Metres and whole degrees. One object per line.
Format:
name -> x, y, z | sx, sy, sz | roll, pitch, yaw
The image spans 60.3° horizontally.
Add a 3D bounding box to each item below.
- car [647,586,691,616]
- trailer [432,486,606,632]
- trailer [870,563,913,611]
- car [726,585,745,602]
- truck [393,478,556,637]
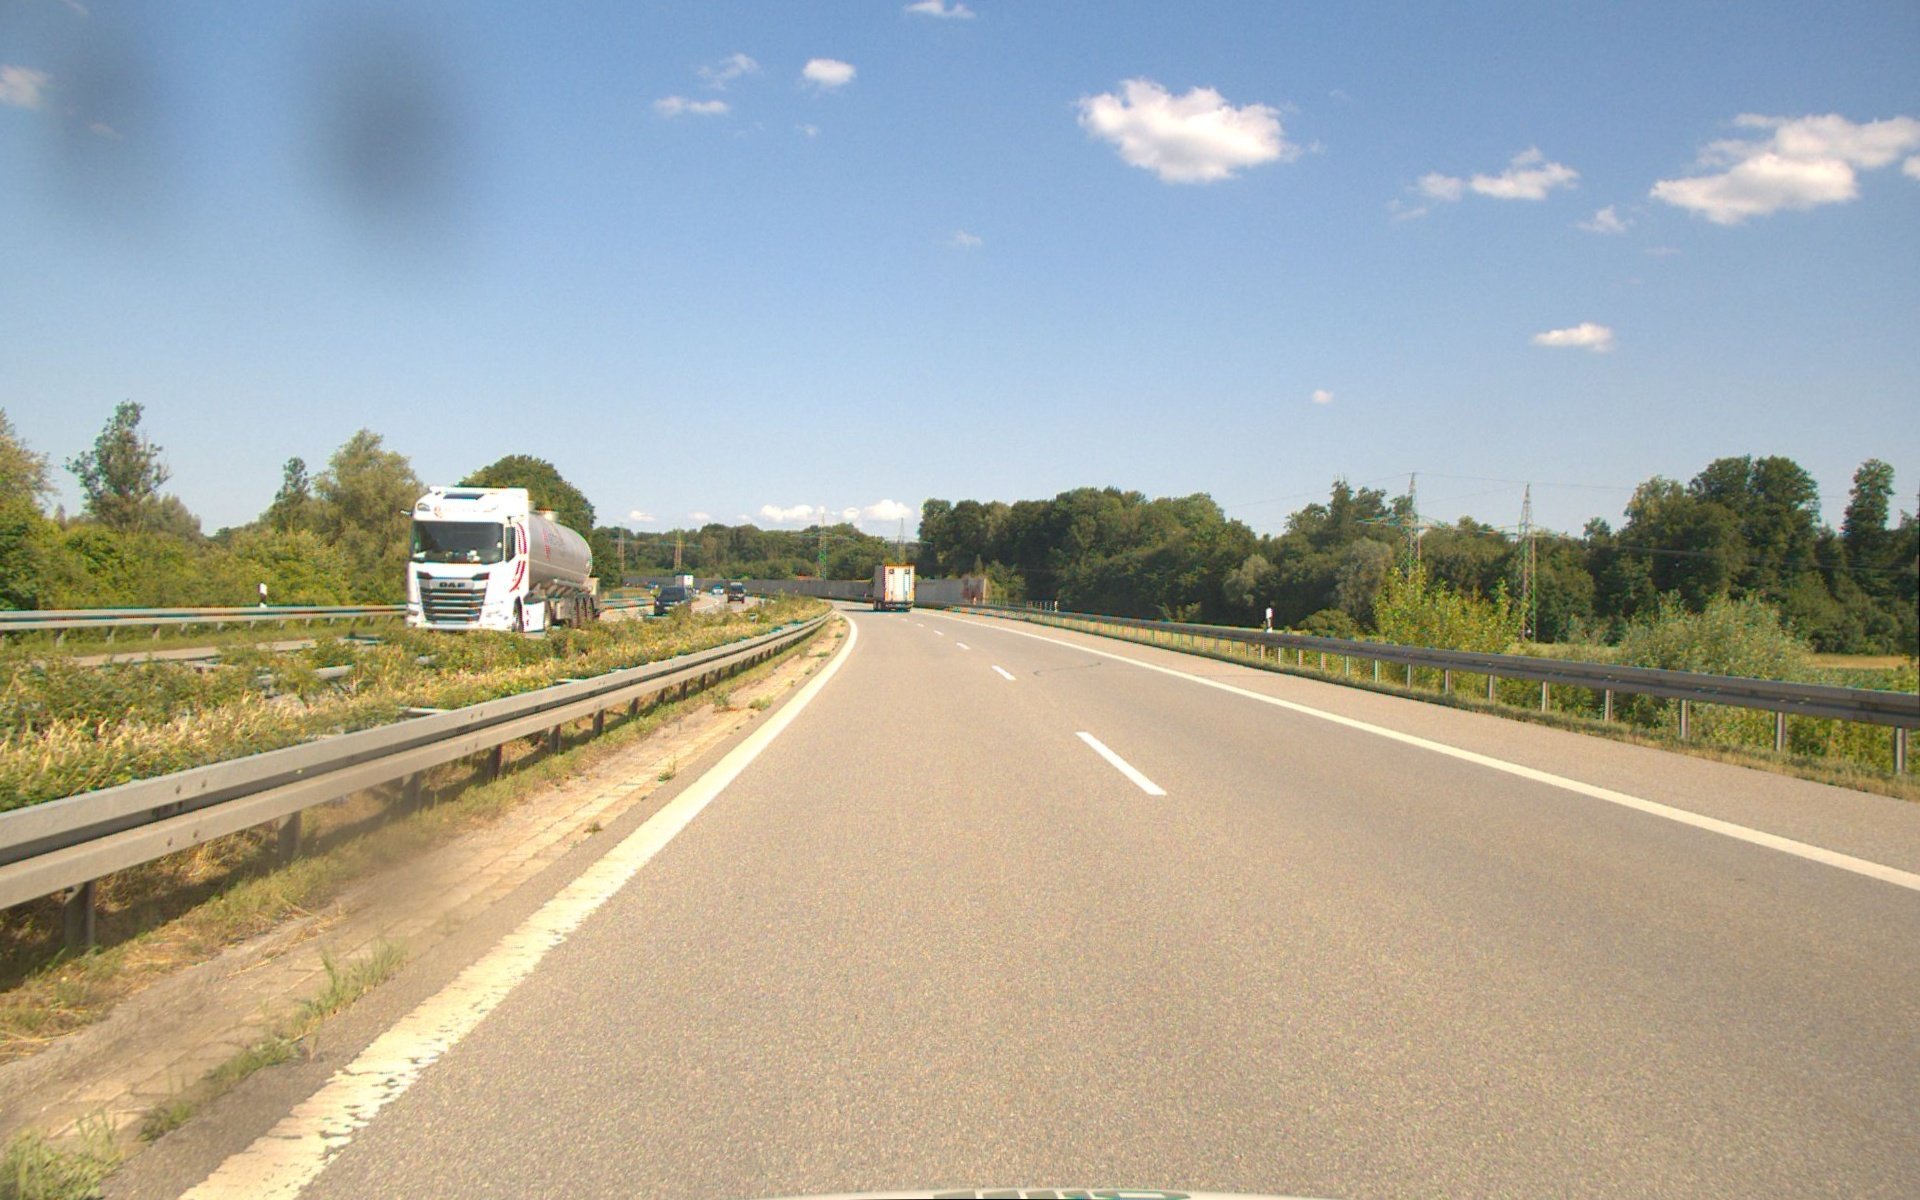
car -> -15.921, 0.027, 90.651 | 1.954, 1.582, 4.416 | 0, 0, -4
trailer -> -12.600, -1.084, 48.314 | 2.686, 3.792, 10.906 | 0, 0, -3
trailer -> -6.226, -1.149, 149.138 | 2.829, 4.137, 12.400 | 0, 0, -7
car -> -24.347, -0.717, 179.395 | 1.956, 1.708, 5.308 | 0, 1, -8
truck -> -12.305, -1.018, 42.409 | 2.686, 3.792, 5.968 | 0, 0, -3
